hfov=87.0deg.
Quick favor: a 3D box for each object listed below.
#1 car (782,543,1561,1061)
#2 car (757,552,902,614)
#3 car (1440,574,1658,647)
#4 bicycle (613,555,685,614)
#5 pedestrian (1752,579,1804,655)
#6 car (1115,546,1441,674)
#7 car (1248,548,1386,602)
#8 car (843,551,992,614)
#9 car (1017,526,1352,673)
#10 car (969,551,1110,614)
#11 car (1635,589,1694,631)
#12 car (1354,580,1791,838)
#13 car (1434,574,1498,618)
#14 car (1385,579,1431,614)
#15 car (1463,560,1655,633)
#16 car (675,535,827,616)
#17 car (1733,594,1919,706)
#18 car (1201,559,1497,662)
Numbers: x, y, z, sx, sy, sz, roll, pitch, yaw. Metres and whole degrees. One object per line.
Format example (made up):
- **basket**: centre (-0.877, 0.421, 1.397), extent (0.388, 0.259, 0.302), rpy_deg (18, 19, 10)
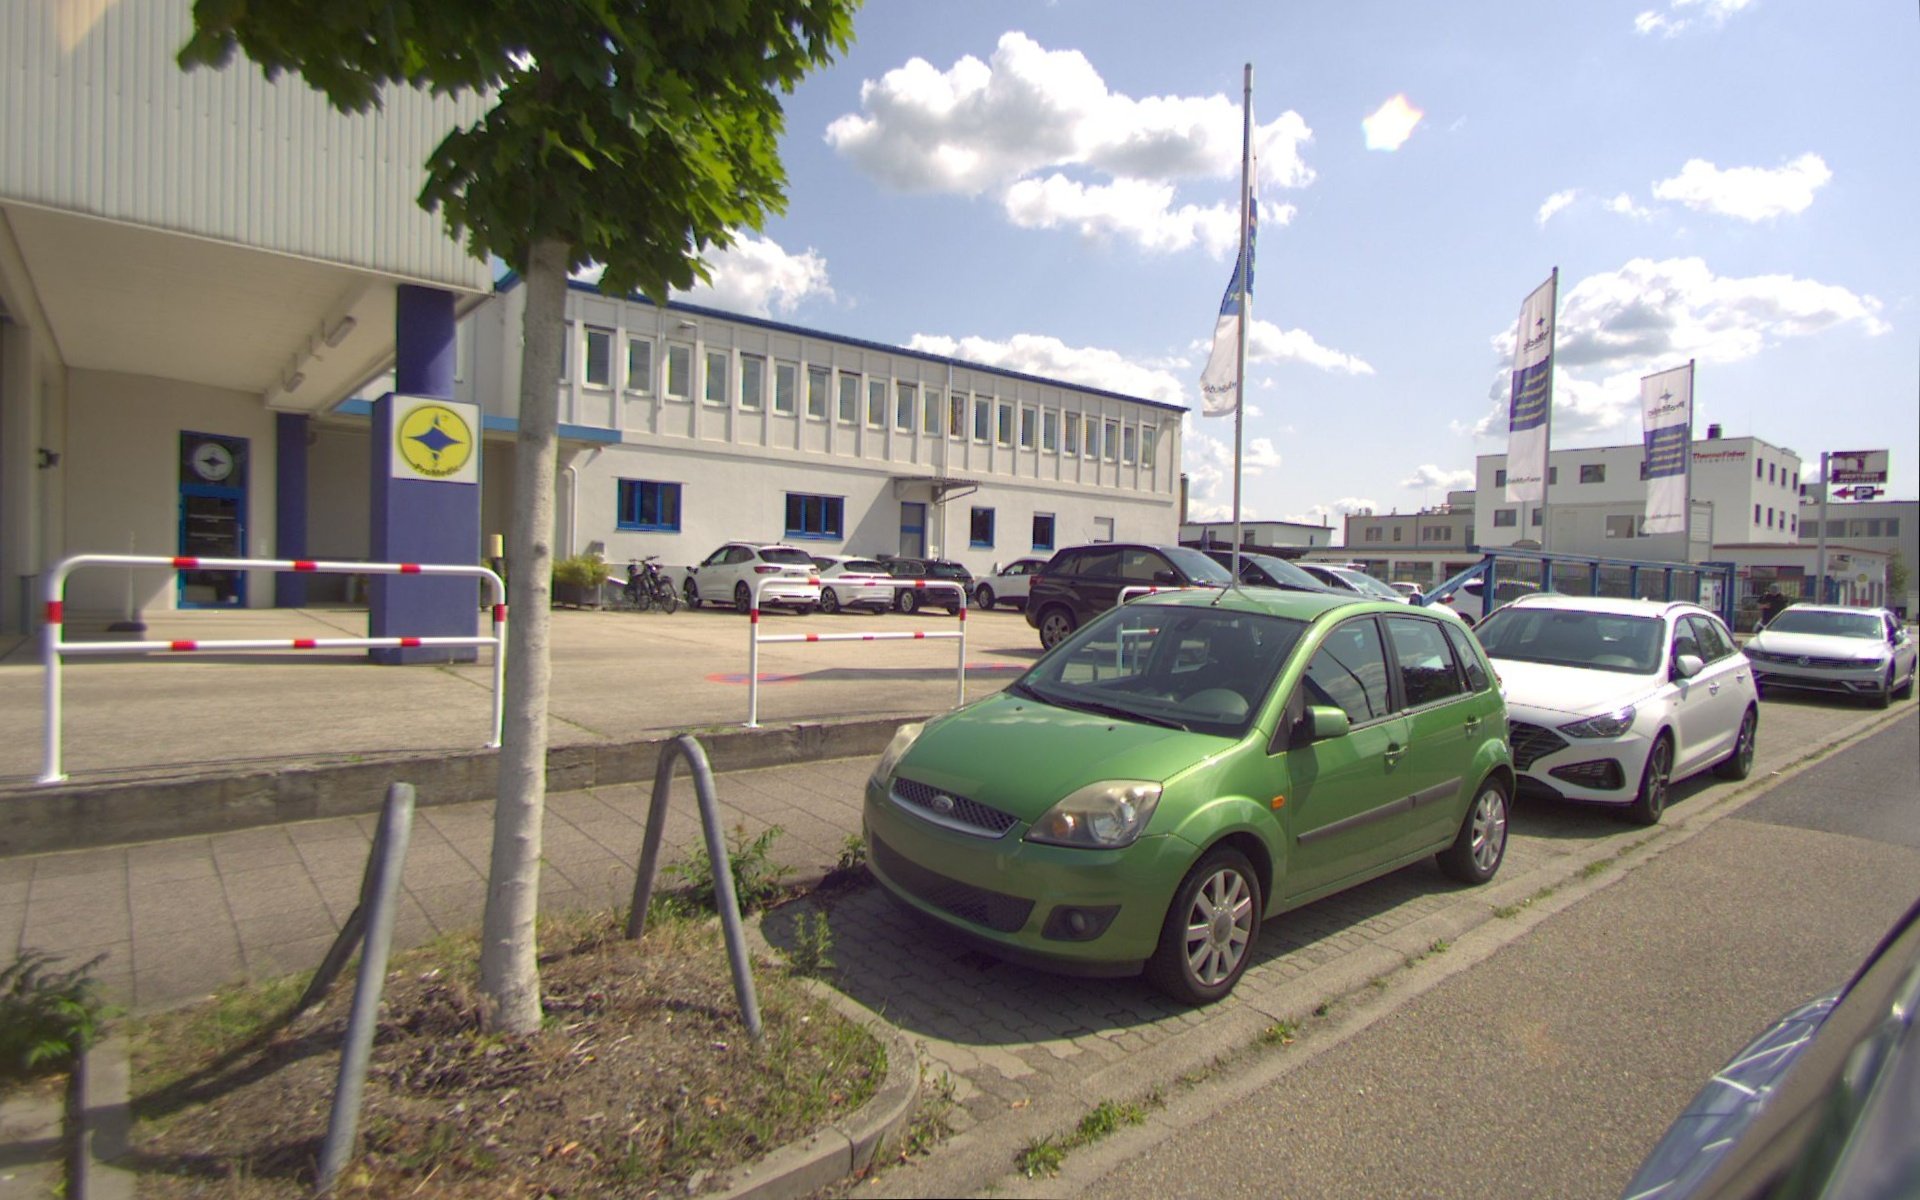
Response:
- **car**: centre (1.279, 0.578, 4.928), extent (3.925, 1.539, 1.672), rpy_deg (0, 1, -41)
- **car**: centre (-3.401, -0.472, 25.843), extent (1.775, 1.417, 3.995), rpy_deg (1, 2, -41)
- **car**: centre (13.815, 0.200, 23.906), extent (1.964, 1.437, 3.997), rpy_deg (1, 2, -40)
- **bicycle**: centre (-6.832, -0.360, 22.172), extent (0.630, 1.227, 2.228), rpy_deg (1, 2, -41)
- **pedestrian**: centre (20.049, 0.393, 24.811), extent (0.773, 1.777, 0.771), rpy_deg (1, 3, -41)
- **car**: centre (4.713, 0.056, 15.452), extent (2.111, 1.667, 4.233), rpy_deg (1, 2, -42)
- **car**: centre (14.104, -1.002, 40.187), extent (2.234, 1.961, 4.691), rpy_deg (1, 1, -39)
- **car**: centre (-1.212, -0.493, 27.168), extent (1.901, 1.526, 3.995), rpy_deg (1, 2, -41)
- **car**: centre (2.933, -0.080, 13.887), extent (1.965, 1.707, 4.091), rpy_deg (1, 2, -42)
- **car**: centre (2.321, -0.559, 30.379), extent (1.900, 1.722, 3.995), rpy_deg (1, 2, -41)
- **car**: centre (27.194, 0.333, 39.067), extent (1.735, 1.459, 3.785), rpy_deg (3, 3, 35)
- **car**: centre (5.188, 0.653, 8.303), extent (4.384, 1.539, 1.838), rpy_deg (0, 1, -42)
- **car**: centre (23.042, -0.186, 46.000), extent (1.685, 1.829, 4.217), rpy_deg (3, 2, 39)
- **car**: centre (21.507, -0.169, 48.541), extent (1.545, 1.540, 3.957), rpy_deg (3, 2, 30)
- **car**: centre (15.125, -0.146, 25.685), extent (1.760, 1.701, 3.814), rpy_deg (0, 1, -41)
- **car**: centre (-5.056, -0.608, 24.102), extent (1.775, 1.761, 4.066), rpy_deg (1, 2, -41)
- **car**: centre (14.318, 0.708, 16.504), extent (4.518, 1.539, 1.871), rpy_deg (0, 1, -42)
- **car**: centre (6.505, 0.103, 17.333), extent (1.964, 1.437, 4.290), rpy_deg (1, 2, -40)
